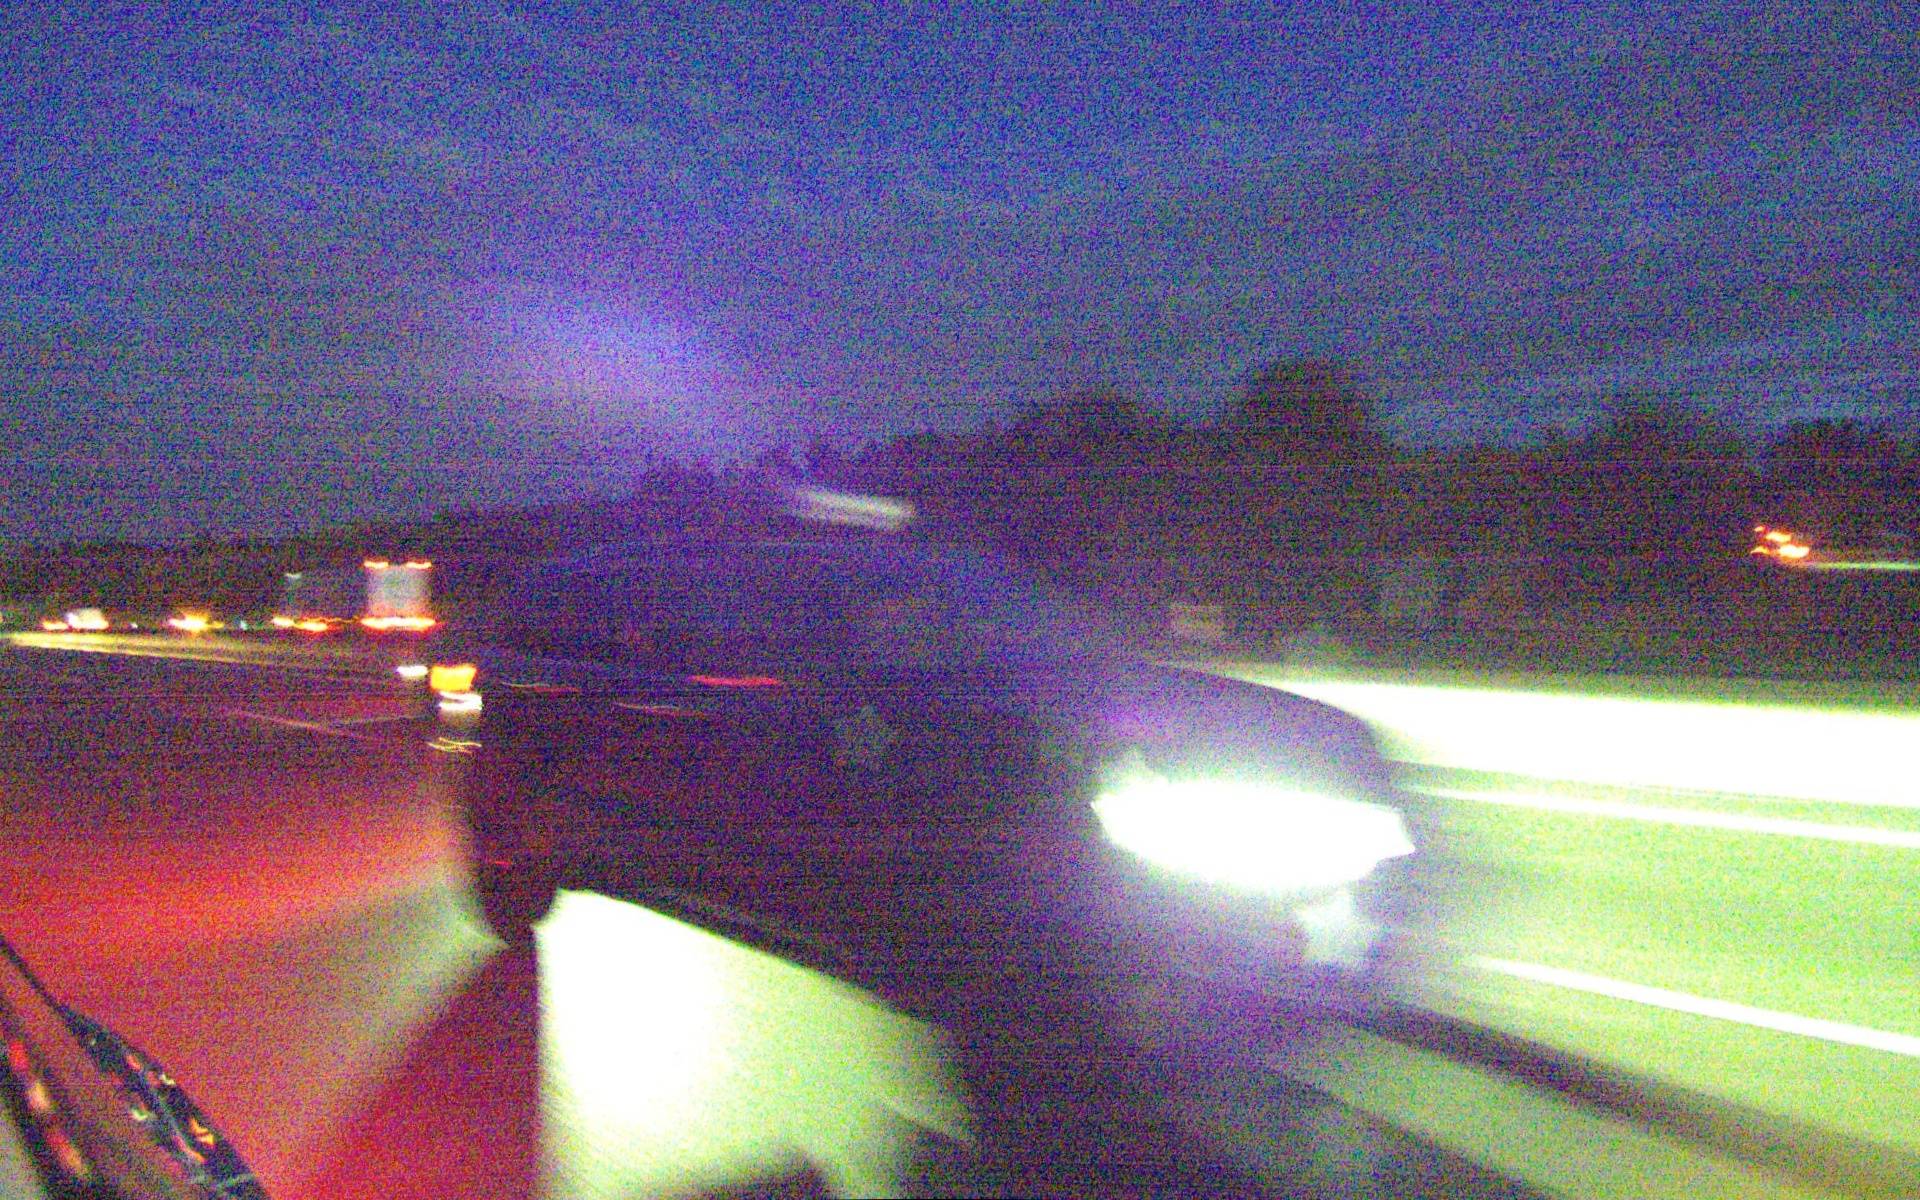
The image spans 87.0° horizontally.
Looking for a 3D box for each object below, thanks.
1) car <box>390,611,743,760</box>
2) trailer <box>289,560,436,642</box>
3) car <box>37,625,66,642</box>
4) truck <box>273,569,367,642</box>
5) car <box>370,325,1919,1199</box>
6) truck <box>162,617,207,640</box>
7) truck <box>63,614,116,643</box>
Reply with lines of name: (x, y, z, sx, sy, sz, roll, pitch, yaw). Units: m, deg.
car: (-4.973, 0.867, 12.265, 5.509, 1.442, 1.534, -1, 0, 40)
trailer: (-36.030, 0.203, 60.610, 14.017, 4.467, 3.291, -2, 0, 41)
car: (-117.623, 4.300, 130.958, 4.761, 1.970, 2.174, -2, 2, 41)
truck: (-41.303, 0.386, 65.248, 6.704, 4.467, 3.291, -2, 0, 41)
car: (-0.221, 0.579, 4.071, 5.939, 1.734, 1.973, -2, -2, 41)
truck: (-63.081, 2.336, 82.262, 4.761, 1.769, 2.013, -2, 0, 42)
truck: (-86.825, 2.895, 100.871, 7.881, 2.661, 2.843, -2, 1, 41)
